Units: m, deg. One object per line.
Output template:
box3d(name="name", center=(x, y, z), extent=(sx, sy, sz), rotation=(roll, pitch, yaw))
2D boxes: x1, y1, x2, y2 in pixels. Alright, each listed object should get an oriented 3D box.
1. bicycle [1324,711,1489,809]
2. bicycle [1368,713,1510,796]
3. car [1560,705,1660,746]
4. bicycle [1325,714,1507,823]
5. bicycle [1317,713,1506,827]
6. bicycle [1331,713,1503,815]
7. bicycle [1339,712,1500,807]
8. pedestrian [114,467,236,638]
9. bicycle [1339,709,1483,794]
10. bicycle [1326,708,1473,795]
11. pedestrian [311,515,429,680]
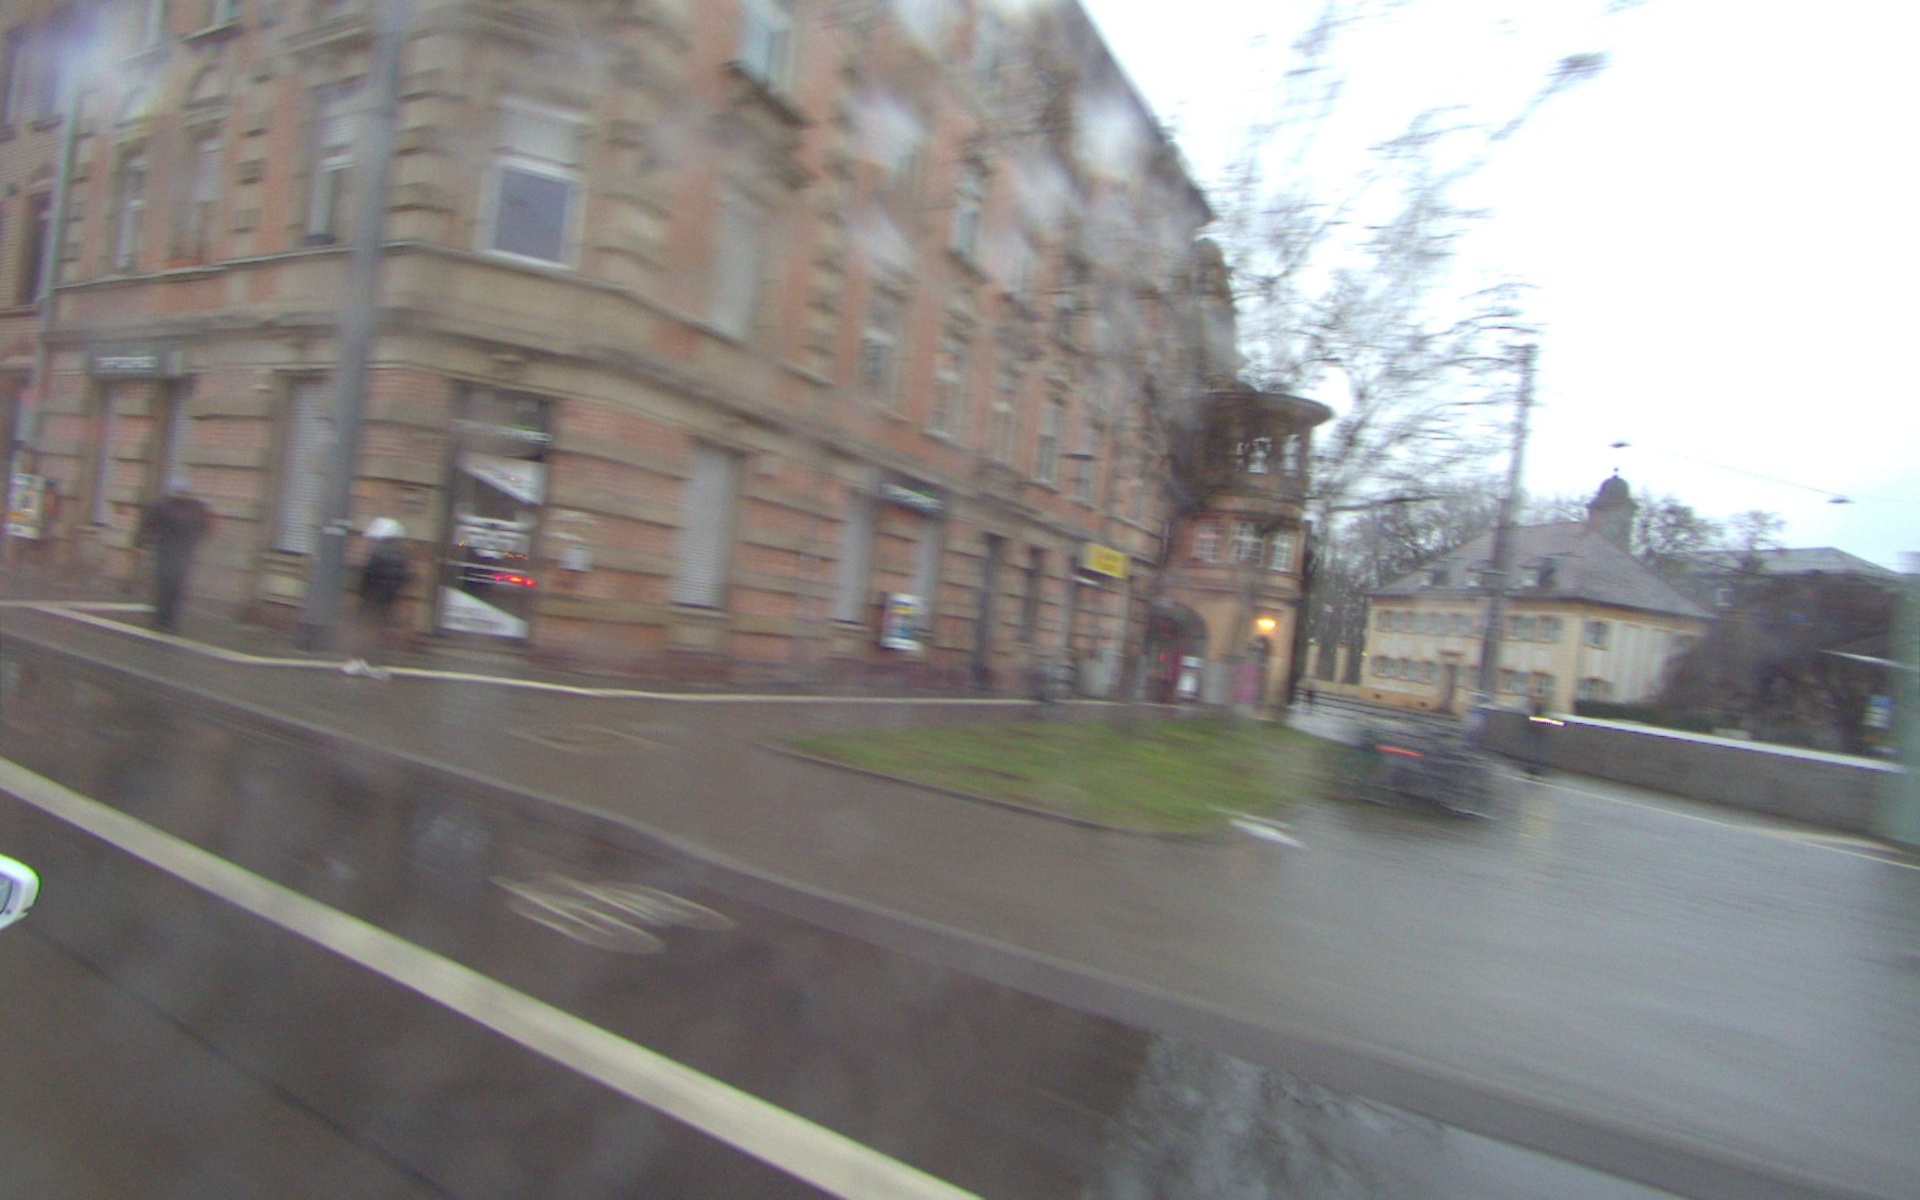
box3d(name="bicycle", center=(6.037, 2.137, 13.665), extent=(1.911, 0.965, 0.455), rotation=(7, 0, 31))
box3d(name="bicycle", center=(7.598, 2.422, 15.987), extent=(1.911, 0.965, 0.455), rotation=(7, 0, 31))
box3d(name="car", center=(31.503, 6.086, 48.907), extent=(1.810, 1.317, 3.770), rotation=(7, -1, -14))
box3d(name="bicycle", center=(5.606, 2.037, 12.417), extent=(1.911, 0.965, 0.455), rotation=(7, 0, 31))
box3d(name="bicycle", center=(5.337, 1.984, 11.954), extent=(1.911, 0.965, 0.455), rotation=(7, 0, 31))
box3d(name="bicycle", center=(5.938, 2.104, 13.131), extent=(1.911, 0.965, 0.455), rotation=(7, 0, 31))
box3d(name="bicycle", center=(6.407, 2.201, 14.074), extent=(1.911, 0.965, 0.455), rotation=(7, 0, 31))
box3d(name="pedestrian", center=(-9.081, -0.539, 11.642), extent=(0.699, 1.847, 0.752), rotation=(7, 0, 32))
box3d(name="bicycle", center=(7.006, 2.336, 15.676), extent=(1.911, 0.965, 0.455), rotation=(7, 0, 31))
box3d(name="bicycle", center=(6.654, 2.274, 15.271), extent=(1.911, 0.965, 0.455), rotation=(7, 0, 31))
box3d(name="pedestrian", center=(-5.999, -0.022, 10.233), extent=(0.699, 1.567, 0.632), rotation=(7, 0, 32))
